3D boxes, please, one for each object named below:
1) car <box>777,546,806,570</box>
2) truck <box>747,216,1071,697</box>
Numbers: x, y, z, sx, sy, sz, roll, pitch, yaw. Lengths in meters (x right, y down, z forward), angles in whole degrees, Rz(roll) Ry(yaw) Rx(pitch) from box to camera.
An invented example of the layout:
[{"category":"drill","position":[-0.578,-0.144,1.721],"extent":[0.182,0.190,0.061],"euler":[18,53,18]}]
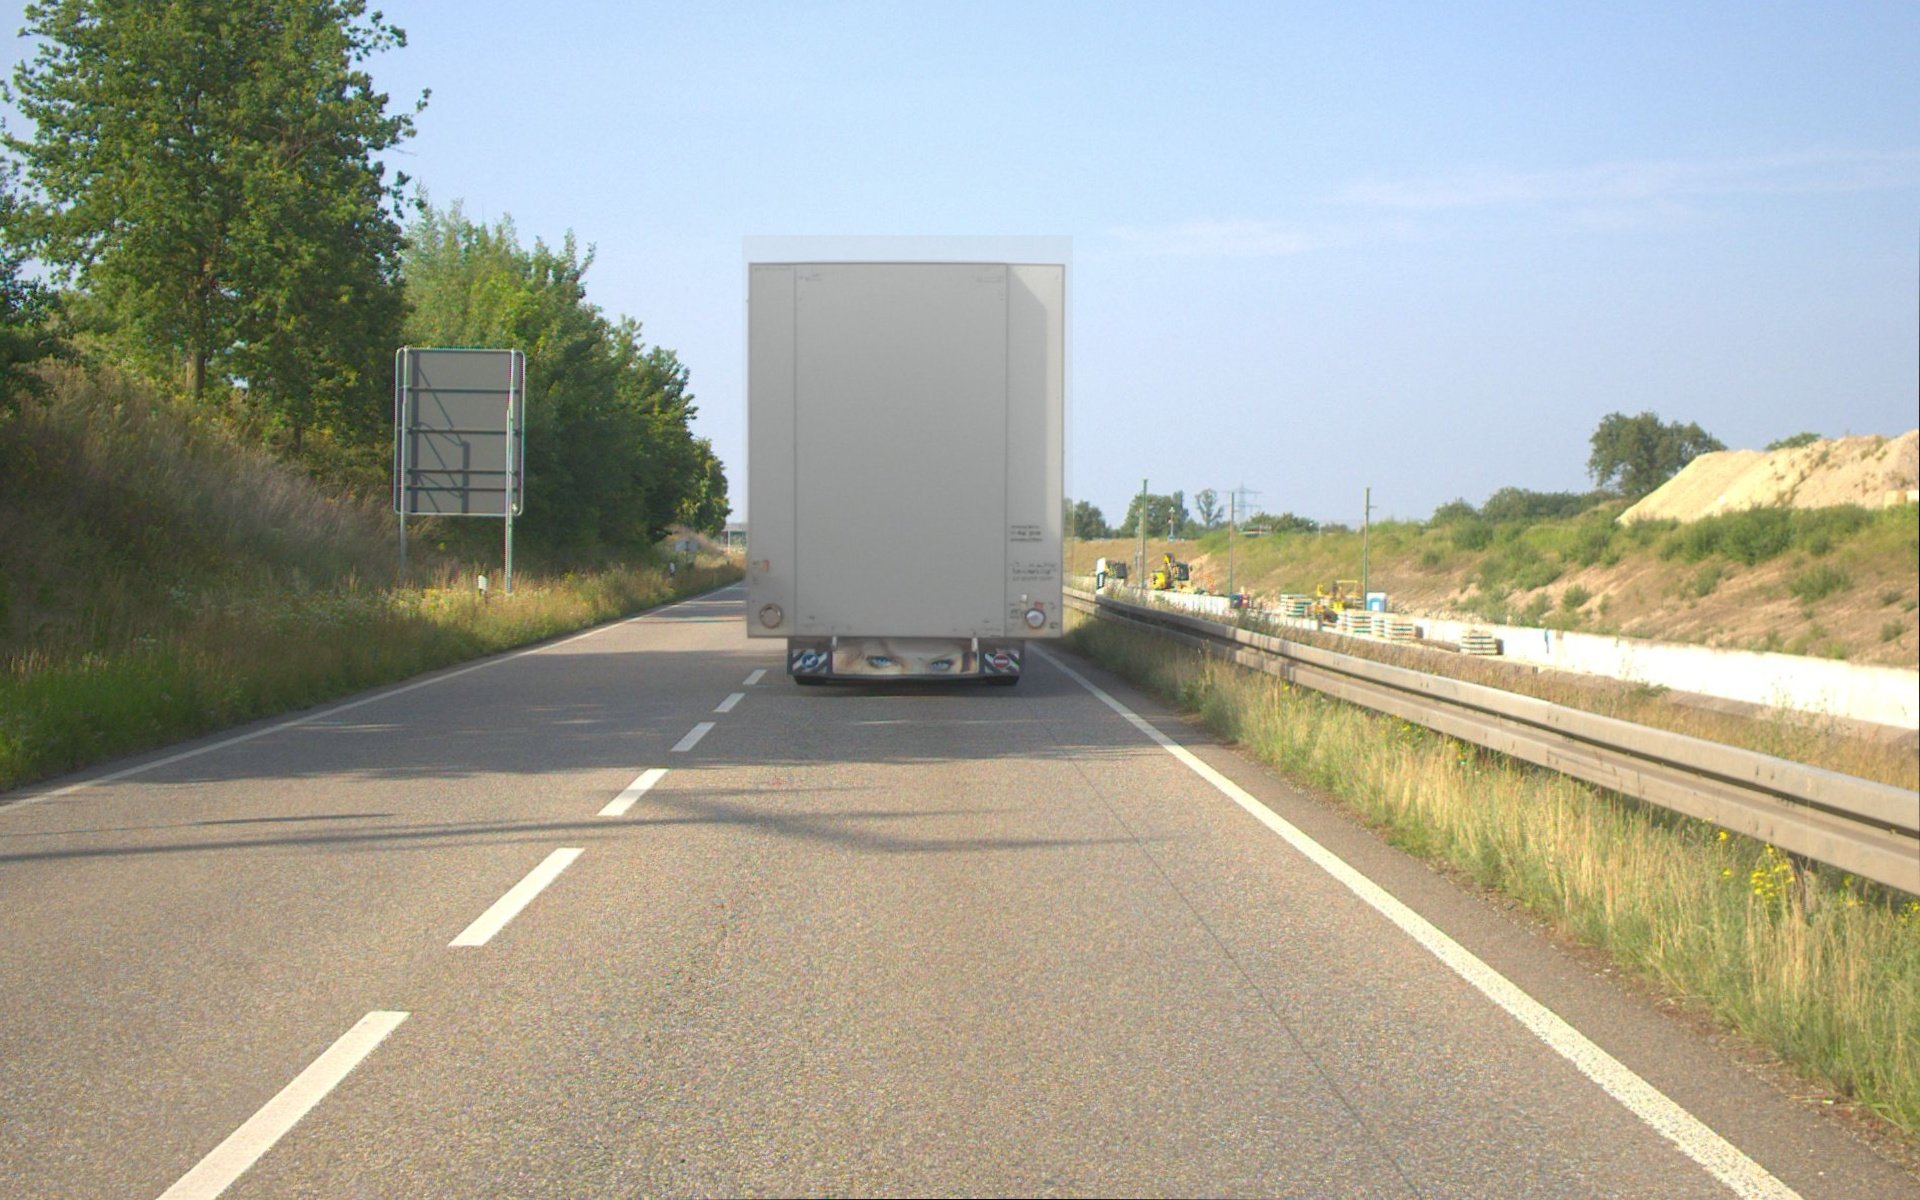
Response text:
[{"category":"car","position":[-11.217,-2.829,229.422],"extent":[1.745,1.559,4.365],"euler":[1,1,0]},{"category":"truck","position":[-0.646,-1.461,37.706],"extent":[3.153,4.672,8.442],"euler":[0,1,-2]}]
